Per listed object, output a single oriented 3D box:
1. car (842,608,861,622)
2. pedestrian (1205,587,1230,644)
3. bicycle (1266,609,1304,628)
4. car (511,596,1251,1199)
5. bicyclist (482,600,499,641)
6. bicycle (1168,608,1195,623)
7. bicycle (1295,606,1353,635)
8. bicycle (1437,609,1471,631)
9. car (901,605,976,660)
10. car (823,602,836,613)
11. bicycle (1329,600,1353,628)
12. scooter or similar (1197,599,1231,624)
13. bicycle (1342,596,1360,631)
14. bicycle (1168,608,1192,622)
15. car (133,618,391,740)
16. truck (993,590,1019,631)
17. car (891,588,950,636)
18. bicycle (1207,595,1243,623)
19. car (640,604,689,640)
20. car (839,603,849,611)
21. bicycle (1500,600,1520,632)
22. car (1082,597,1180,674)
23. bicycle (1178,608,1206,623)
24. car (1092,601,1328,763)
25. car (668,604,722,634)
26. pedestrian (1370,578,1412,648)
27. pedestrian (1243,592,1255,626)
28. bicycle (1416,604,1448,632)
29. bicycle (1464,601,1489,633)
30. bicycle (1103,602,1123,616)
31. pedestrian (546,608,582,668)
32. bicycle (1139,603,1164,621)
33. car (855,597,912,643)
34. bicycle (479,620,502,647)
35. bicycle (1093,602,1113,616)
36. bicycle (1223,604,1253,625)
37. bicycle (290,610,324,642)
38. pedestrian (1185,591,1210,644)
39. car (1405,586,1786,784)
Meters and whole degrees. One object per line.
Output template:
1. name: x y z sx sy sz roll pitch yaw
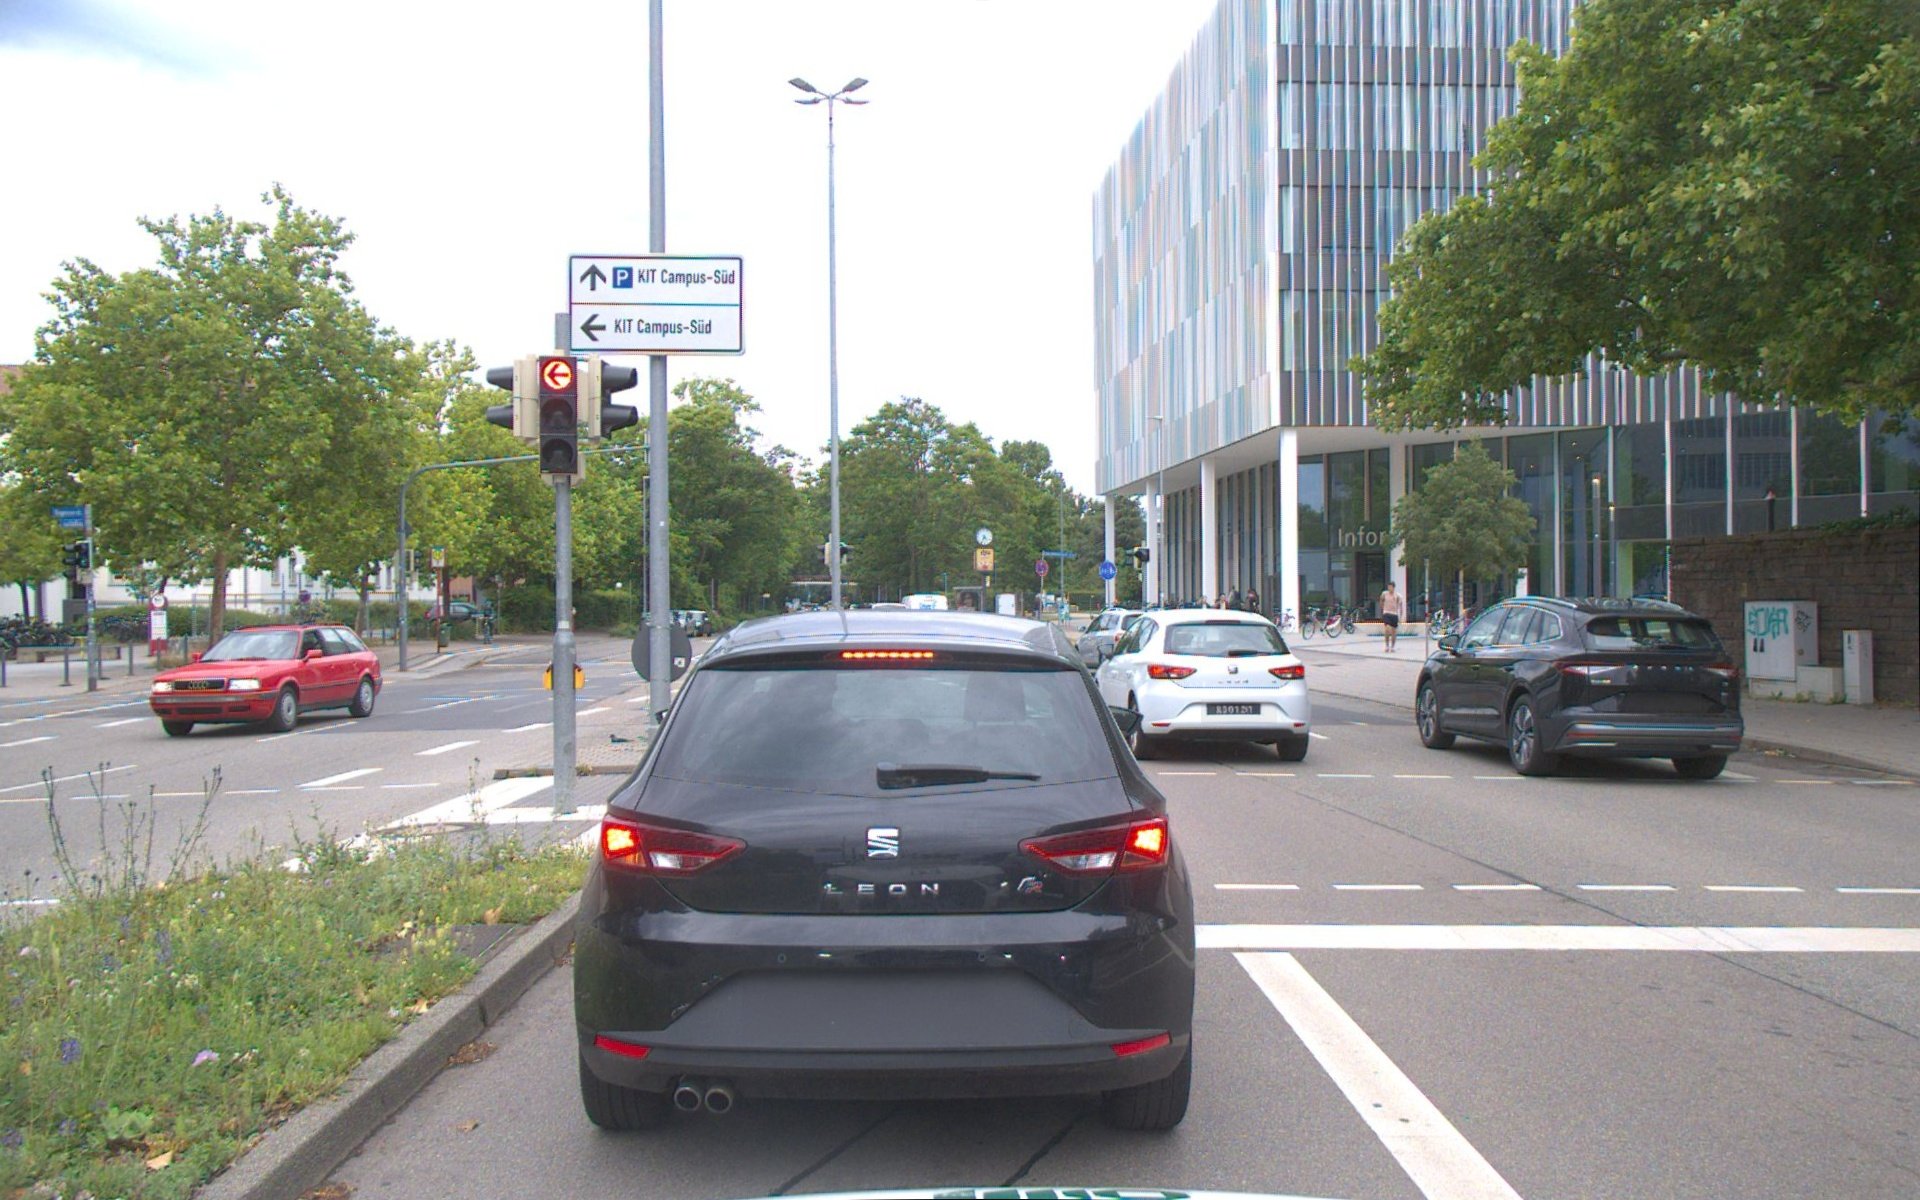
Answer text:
1. car: -11.271 1.568 172.028 1.861 1.377 3.879 -2 1 -4
2. pedestrian: 8.262 0.491 53.101 0.673 1.812 0.677 0 0 -1
3. bicycle: 13.721 0.787 69.872 1.450 0.761 0.565 -2 0 -4
4. car: -0.136 0.729 5.752 1.717 1.457 3.770 1 0 1
5. bicyclist: -18.984 0.819 66.862 0.481 1.653 0.588 1 1 -1
6. bicycle: 11.541 0.807 86.152 1.345 0.717 0.489 -2 0 8
7. bicycle: 12.415 0.698 56.371 1.860 0.914 0.693 -2 0 -22
8. bicycle: 18.190 0.745 60.909 1.515 0.728 0.511 -3 1 -44
9. car: -0.657 0.883 46.718 1.689 1.439 4.240 1 1 -6
10. car: -19.353 1.129 245.618 1.663 1.530 4.003 -2 1 -7
11. bicycle: 15.533 0.550 67.409 0.607 1.064 1.704 -2 1 25
12. scooter or similar: 12.064 0.534 78.481 1.655 1.126 0.493 -2 0 -33
13. bicycle: 15.282 0.521 64.613 0.515 1.275 1.667 -2 0 17
14. bicycle: 11.576 0.792 87.045 1.213 0.717 0.489 -2 0 8
15. car: -9.732 1.044 23.450 1.678 1.443 4.295 -2 0 2
16. truck: 2.701 0.601 96.951 1.291 2.282 3.401 -2 0 -1
17. car: -1.763 0.483 72.615 1.930 2.007 4.333 1 0 -10
18. bicycle: 12.473 0.406 77.910 1.758 1.232 0.563 -2 0 -35
19. car: -15.338 1.121 86.031 1.868 1.747 3.999 -2 1 -1
20. car: -17.505 1.051 249.278 1.475 1.214 3.160 -2 1 -4
21. bicycle: 19.611 0.568 58.963 0.609 1.074 1.950 -2 1 19
22. car: 3.737 0.794 36.745 1.787 1.578 4.527 1 -1 1
23. bicycle: 11.827 0.784 84.359 1.346 0.717 0.416 -2 0 2
24. car: 2.471 0.764 17.243 1.745 1.488 3.869 0 0 -2
25. car: -15.359 1.089 95.904 1.721 1.615 4.004 -2 1 12
26. pedestrian: 11.317 0.339 43.414 0.830 1.795 0.767 -2 0 -1
27. pedestrian: 12.045 0.382 68.890 0.462 1.385 0.446 -2 0 9
28. bicycle: 17.592 0.654 61.570 0.682 0.963 1.981 -2 1 29
29. bicycle: 18.705 0.602 59.875 0.792 1.074 1.950 -2 1 19
30. bicycle: 9.910 0.589 106.999 1.218 0.837 0.479 2 -1 -23
31. pedestrian: -10.960 1.055 45.768 0.858 1.614 0.542 -2 0 -8
32. bicycle: 10.624 0.652 92.001 1.357 0.958 0.488 -1 0 6
33. car: -2.841 0.704 60.557 1.697 1.631 4.098 0 0 -8
34. bicycle: -18.995 1.346 66.948 0.478 1.023 1.589 1 1 -1
35. bicycle: 9.412 0.612 109.097 1.241 0.863 0.479 2 -1 -23
36. bicycle: 12.831 0.660 76.207 1.421 0.872 0.361 -2 0 -28
37. bicycle: -23.345 0.921 59.130 0.596 1.079 2.041 -2 0 -7
38. pedestrian: 7.588 0.564 52.831 0.673 1.668 0.632 1 0 -1
39. car: 5.969 0.719 16.199 1.869 1.653 4.489 1 0 -2
